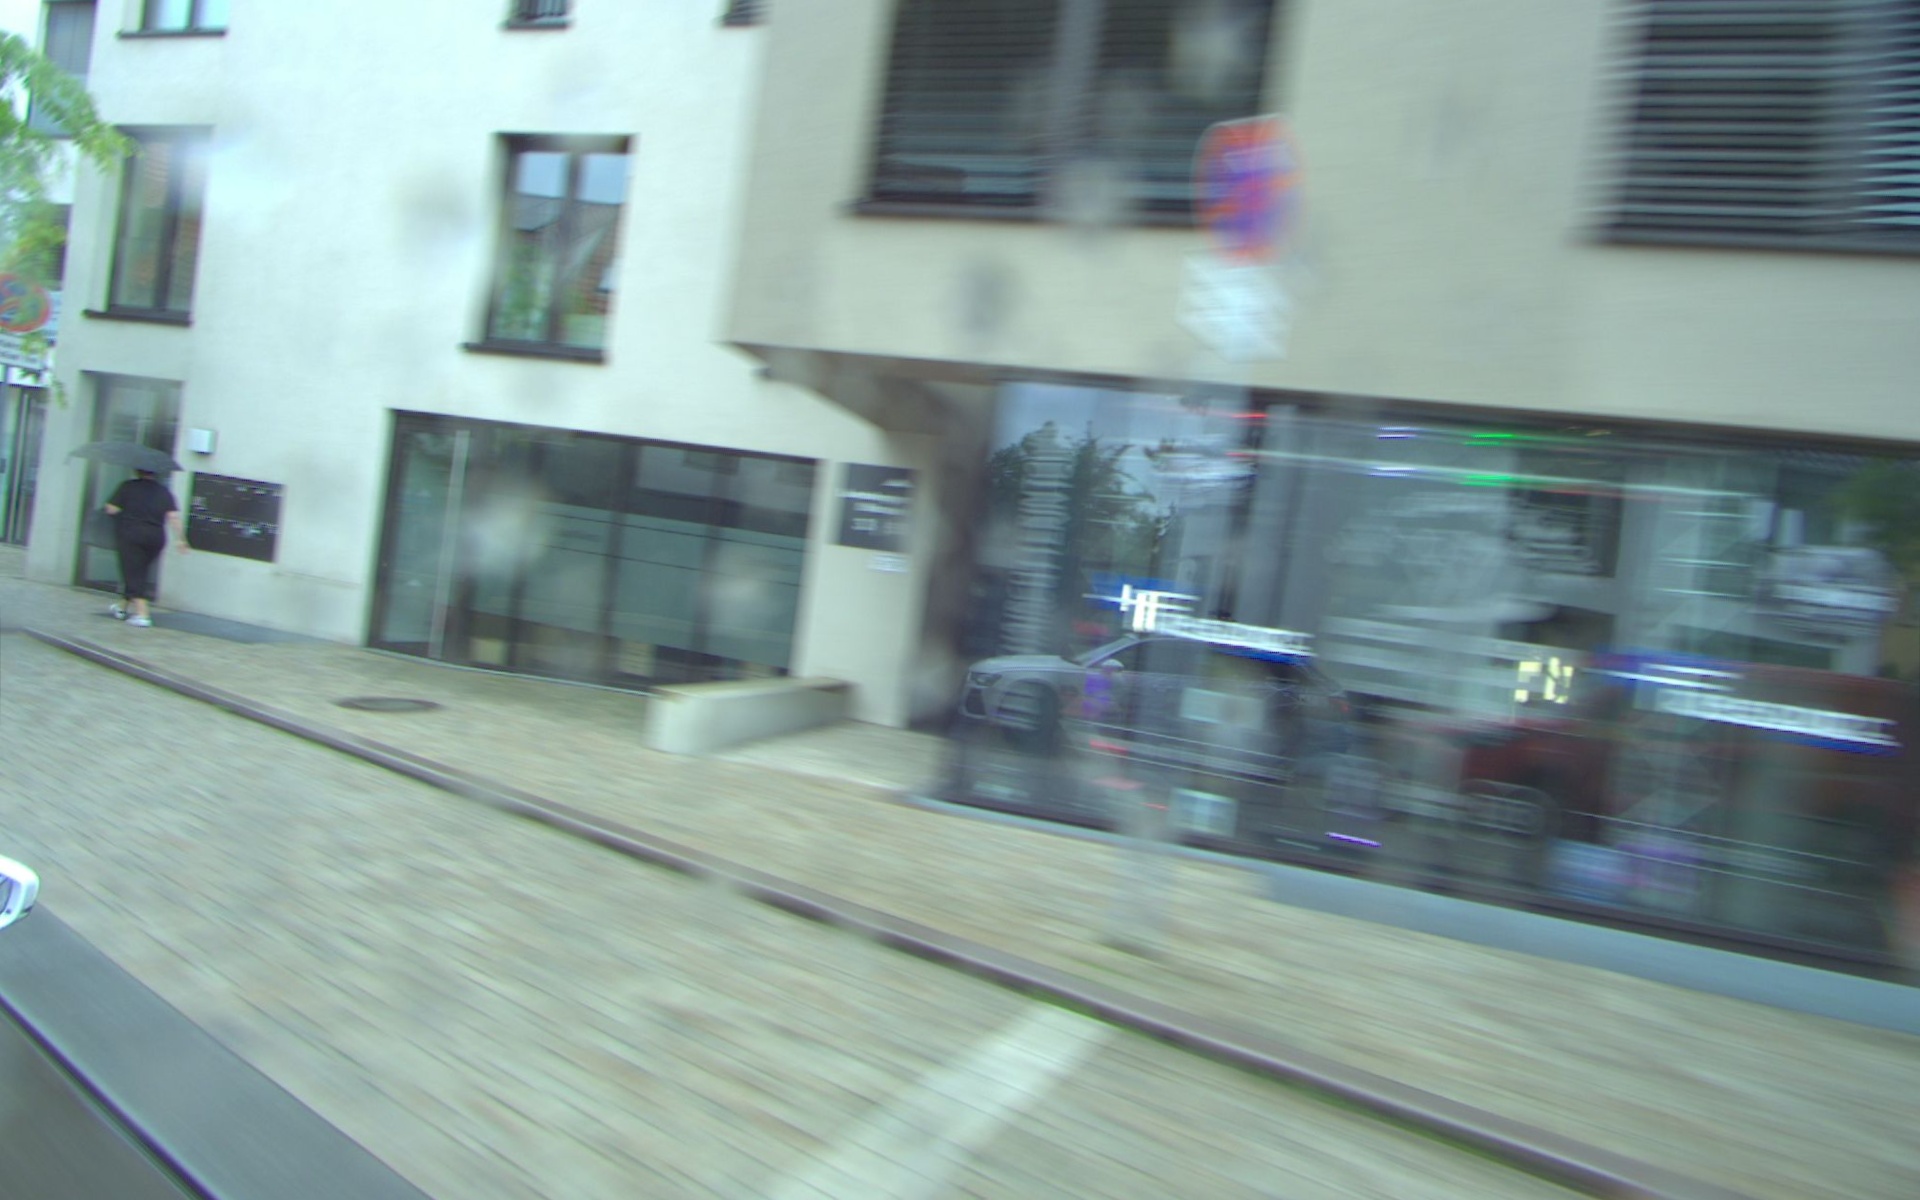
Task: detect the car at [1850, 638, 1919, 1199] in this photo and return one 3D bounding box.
[{"bbox_3d":[3.738,0.869,0.507,4.528,1.931,1.836,6,1,32],"label":"car"}]

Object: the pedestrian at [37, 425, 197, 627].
[{"bbox_3d":[-9.224,-0.804,11.020,1.064,2.037,0.868,7,-1,31],"label":"pedestrian"}]
